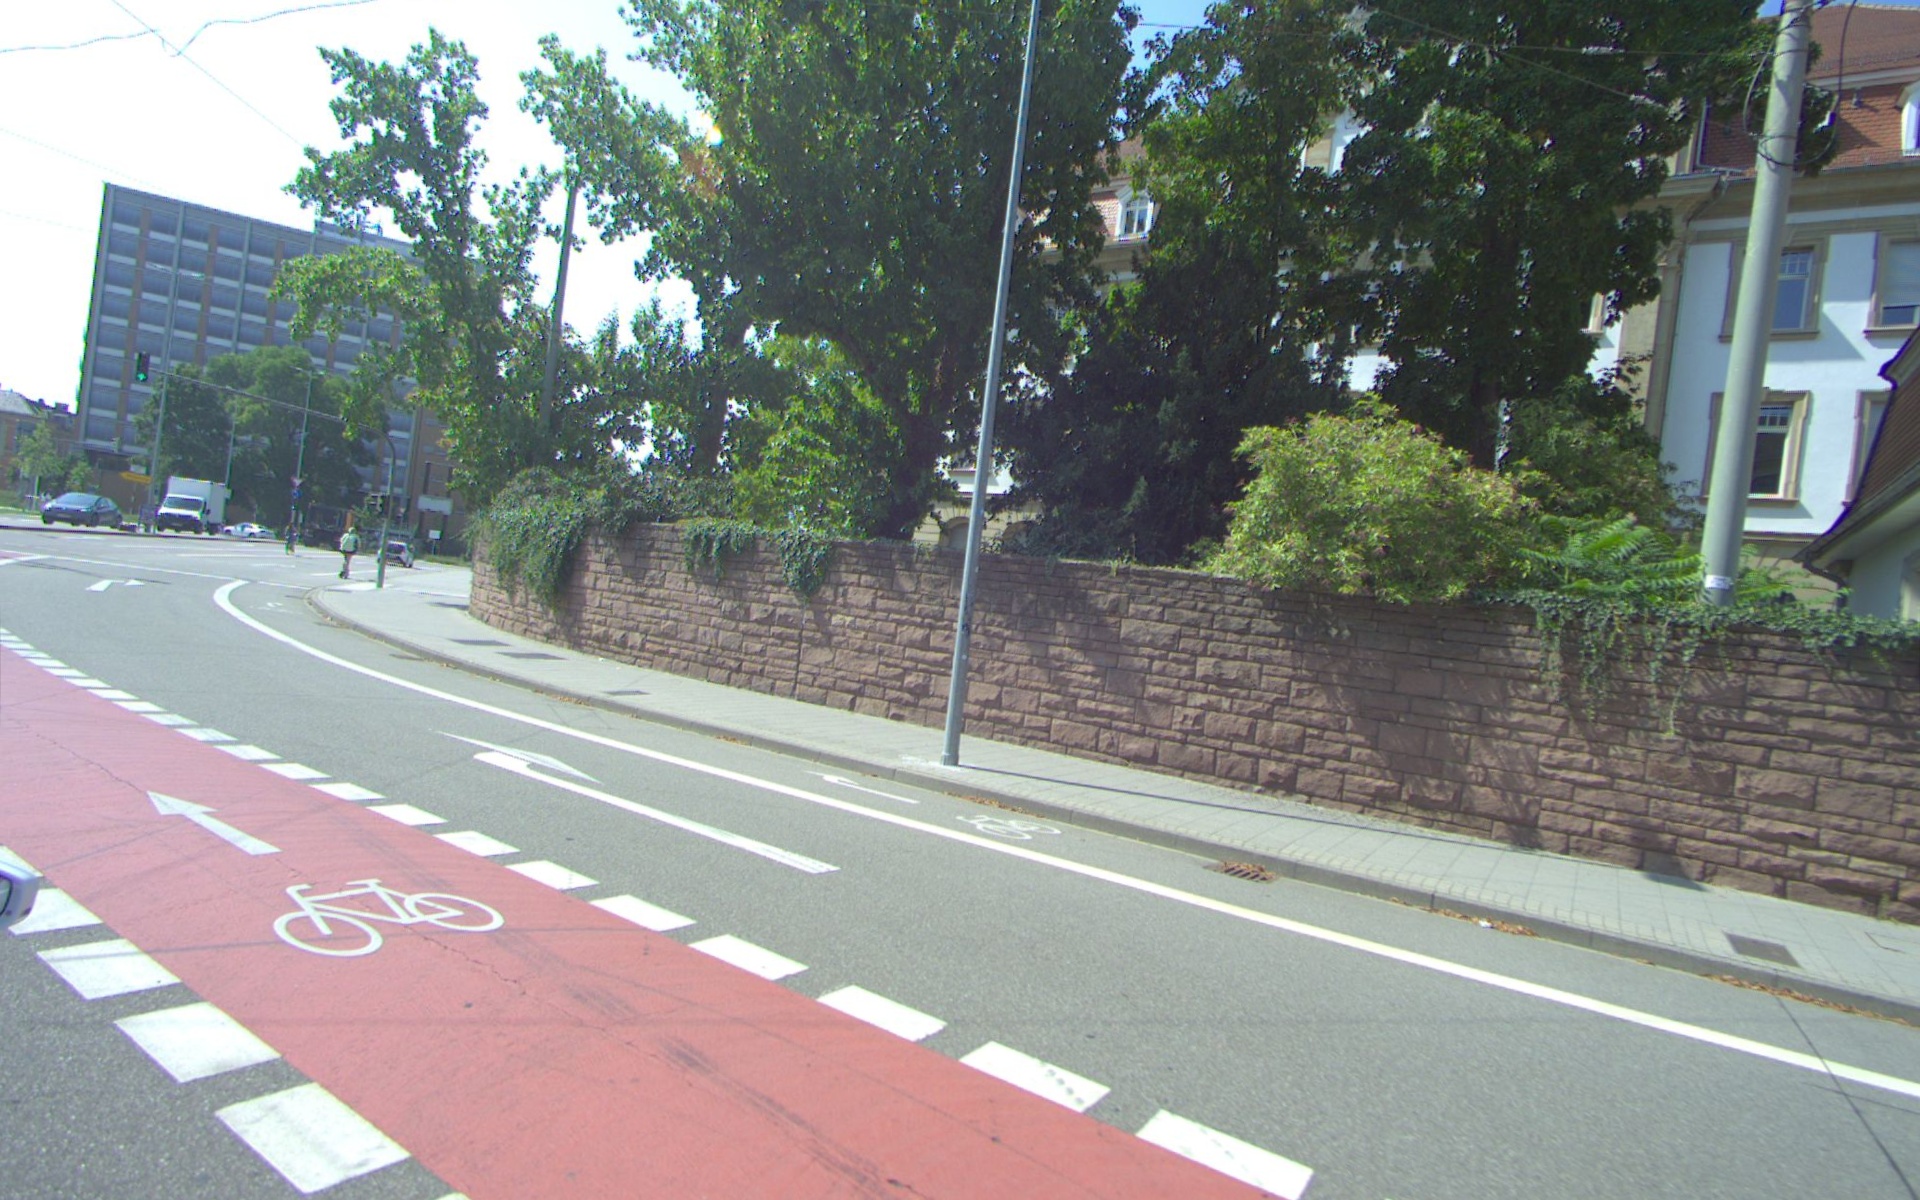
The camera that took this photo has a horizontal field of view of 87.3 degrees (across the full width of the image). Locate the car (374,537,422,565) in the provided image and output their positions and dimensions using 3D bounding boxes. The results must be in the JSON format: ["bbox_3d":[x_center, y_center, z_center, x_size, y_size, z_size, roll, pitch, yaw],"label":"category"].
[{"bbox_3d":[-35.071,-3.056,62.879,1.822,1.408,3.984,7,-1,-19],"label":"car"}]

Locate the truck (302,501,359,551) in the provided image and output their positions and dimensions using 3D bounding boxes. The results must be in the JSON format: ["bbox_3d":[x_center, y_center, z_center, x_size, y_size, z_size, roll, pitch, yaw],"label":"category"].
[{"bbox_3d":[-45.654,-5.310,73.085,2.674,3.024,5.927,8,-1,-27],"label":"truck"}]

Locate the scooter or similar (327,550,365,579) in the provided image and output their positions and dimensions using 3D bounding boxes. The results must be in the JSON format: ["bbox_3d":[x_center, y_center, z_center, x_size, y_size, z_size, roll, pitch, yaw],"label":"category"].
[{"bbox_3d":[-23.020,-1.323,37.729,0.763,0.937,1.614,8,-1,-18],"label":"scooter or similar"}]

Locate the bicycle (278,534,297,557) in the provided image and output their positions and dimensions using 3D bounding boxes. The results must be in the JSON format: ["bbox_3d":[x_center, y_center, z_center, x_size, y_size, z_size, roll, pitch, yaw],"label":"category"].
[{"bbox_3d":[-34.860,-2.819,52.141,0.439,1.130,1.438,7,0,-23],"label":"bicycle"}]

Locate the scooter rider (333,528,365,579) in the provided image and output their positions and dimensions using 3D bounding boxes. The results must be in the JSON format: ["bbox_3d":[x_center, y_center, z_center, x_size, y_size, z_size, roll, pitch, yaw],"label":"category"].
[{"bbox_3d":[-22.991,-1.741,37.841,0.753,1.797,0.553,7,0,-19],"label":"scooter rider"}]

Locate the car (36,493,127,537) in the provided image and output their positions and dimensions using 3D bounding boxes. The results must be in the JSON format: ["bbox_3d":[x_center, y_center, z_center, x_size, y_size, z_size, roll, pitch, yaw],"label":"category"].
[{"bbox_3d":[-39.928,-3.812,45.837,1.679,1.548,4.162,7,-1,-22],"label":"car"}]

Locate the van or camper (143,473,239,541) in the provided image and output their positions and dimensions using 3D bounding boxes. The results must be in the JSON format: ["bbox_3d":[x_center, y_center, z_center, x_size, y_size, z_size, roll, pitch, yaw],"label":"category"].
[{"bbox_3d":[-45.887,-5.448,60.278,2.375,3.346,7.154,7,-1,-22],"label":"van or camper"}]

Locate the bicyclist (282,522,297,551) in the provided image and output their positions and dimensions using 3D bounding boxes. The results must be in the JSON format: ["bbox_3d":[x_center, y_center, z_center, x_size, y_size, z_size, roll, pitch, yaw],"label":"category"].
[{"bbox_3d":[-34.857,-3.318,52.275,0.445,1.439,0.493,6,0,-23],"label":"bicyclist"}]
